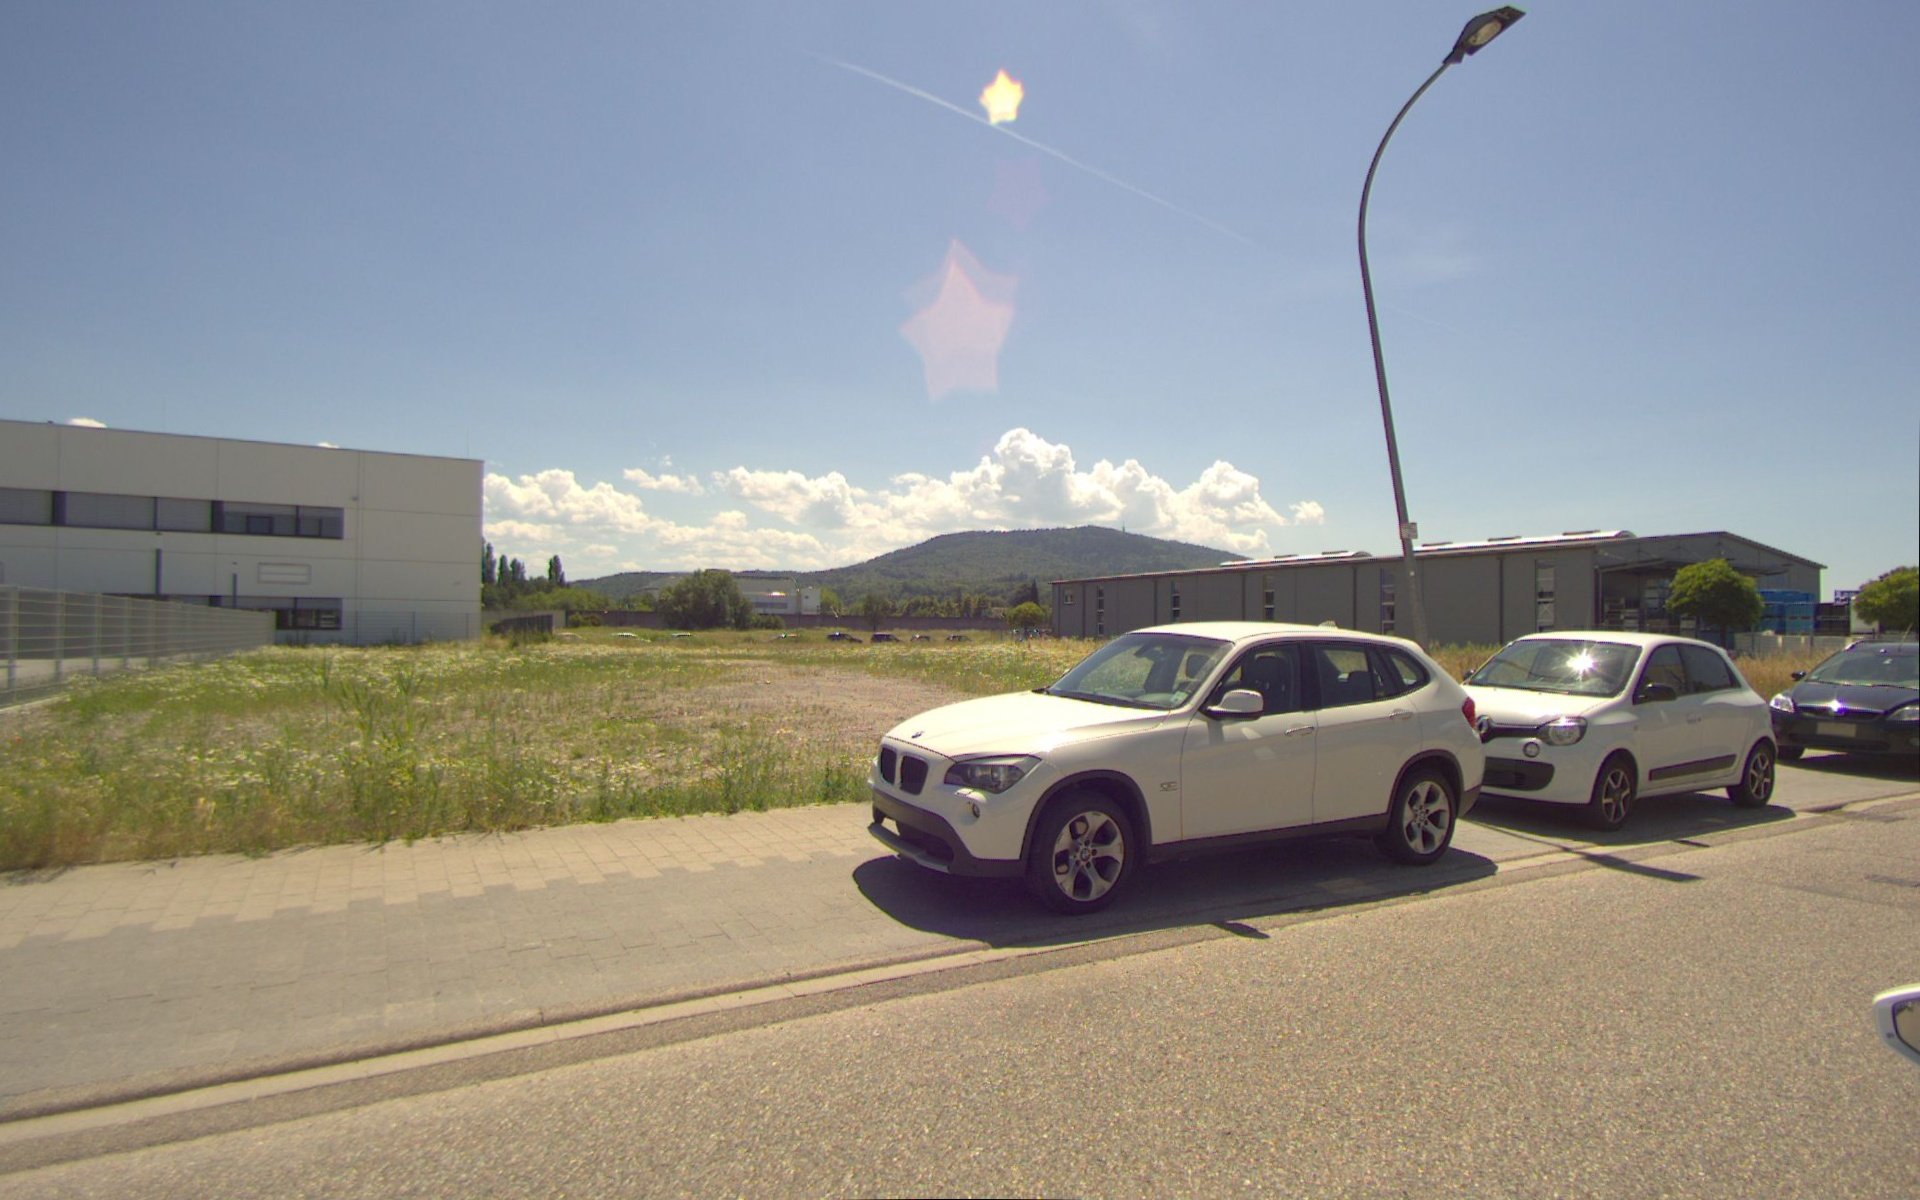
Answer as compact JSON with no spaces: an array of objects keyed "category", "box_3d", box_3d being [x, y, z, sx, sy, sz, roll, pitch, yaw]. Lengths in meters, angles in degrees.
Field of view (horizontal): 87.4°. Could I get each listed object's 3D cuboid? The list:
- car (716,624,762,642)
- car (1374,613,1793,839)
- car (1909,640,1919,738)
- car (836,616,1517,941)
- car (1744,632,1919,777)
[{"category":"car","box_3d":[-25.500,3.829,115.906,4.863,2.040,1.984,2,-2,-30]},{"category":"car","box_3d":[5.778,0.997,9.239,3.725,1.678,1.778,2,-1,-31]},{"category":"car","box_3d":[16.672,1.398,15.692,4.155,1.470,1.753,2,-1,-33]},{"category":"car","box_3d":[1.521,0.926,6.679,4.310,1.563,1.780,1,-1,-28]},{"category":"car","box_3d":[12.024,1.225,12.782,4.329,1.537,1.754,2,-1,-30]}]
